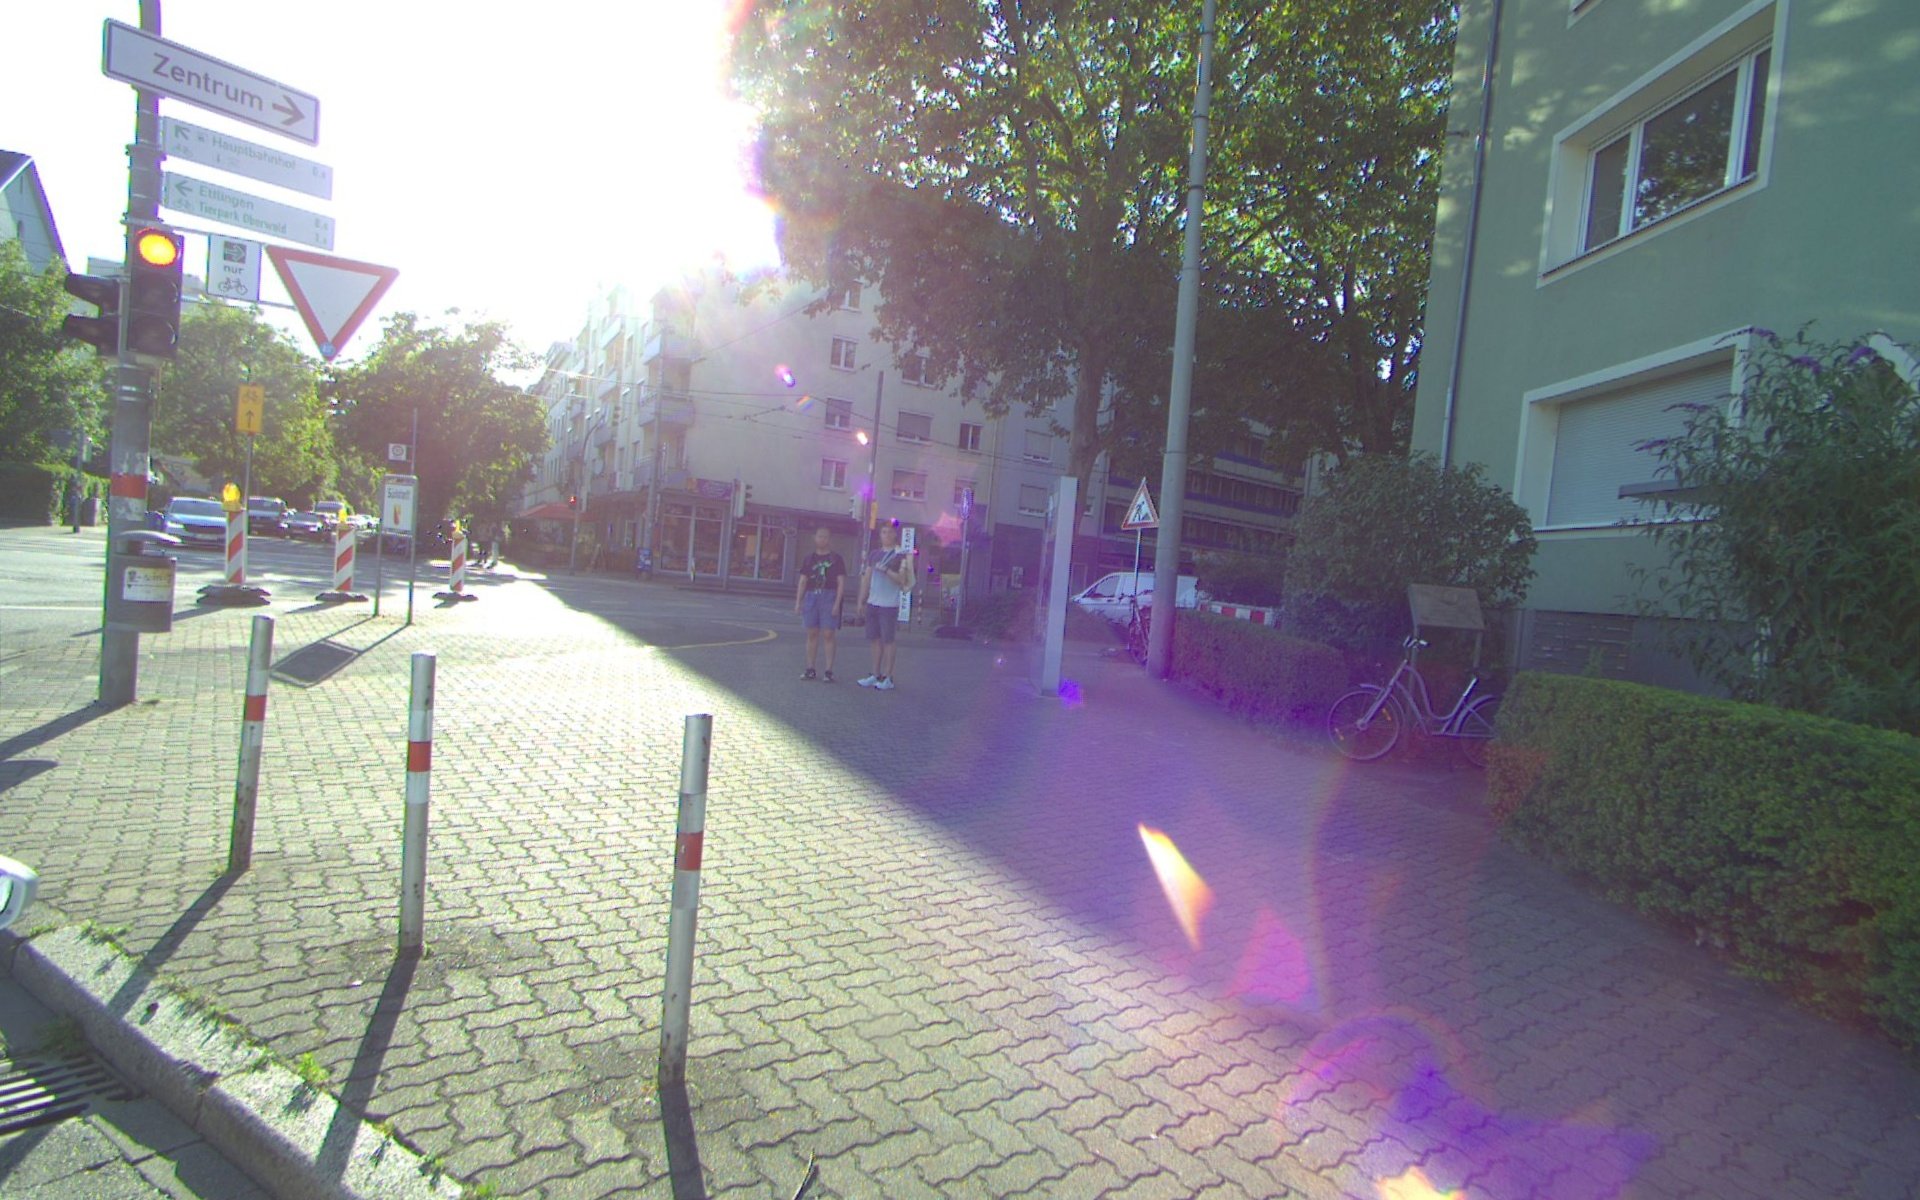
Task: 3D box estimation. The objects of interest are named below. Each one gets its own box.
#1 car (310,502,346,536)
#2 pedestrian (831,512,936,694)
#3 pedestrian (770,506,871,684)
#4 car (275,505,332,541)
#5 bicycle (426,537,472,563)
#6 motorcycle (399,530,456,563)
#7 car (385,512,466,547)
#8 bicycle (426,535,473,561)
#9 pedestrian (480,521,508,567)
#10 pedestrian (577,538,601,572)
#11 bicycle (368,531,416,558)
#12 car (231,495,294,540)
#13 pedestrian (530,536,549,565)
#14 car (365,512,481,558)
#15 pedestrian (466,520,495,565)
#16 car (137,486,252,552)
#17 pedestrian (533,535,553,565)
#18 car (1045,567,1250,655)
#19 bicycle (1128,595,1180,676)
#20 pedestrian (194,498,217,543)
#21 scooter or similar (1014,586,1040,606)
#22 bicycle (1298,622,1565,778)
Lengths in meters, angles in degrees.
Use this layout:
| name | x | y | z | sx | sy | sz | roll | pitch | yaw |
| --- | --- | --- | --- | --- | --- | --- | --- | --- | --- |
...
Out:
| name | x | y | z | sx | sy | sz | roll | pitch | yaw |
| --- | --- | --- | --- | --- | --- | --- | --- | --- | --- |
| car | -54.390 | -6.977 | 86.631 | 2.336 | 2.548 | 5.265 | 4 | 2 | -31 |
| pedestrian | -0.789 | 0.026 | 10.519 | 0.680 | 1.774 | 0.794 | 6 | 2 | 21 |
| pedestrian | -1.472 | -0.057 | 10.722 | 0.680 | 1.774 | 0.794 | 6 | 2 | 13 |
| car | -33.191 | -3.883 | 50.956 | 1.876 | 1.585 | 4.361 | 5 | 2 | -27 |
| bicycle | -21.971 | -2.167 | 43.275 | 1.708 | 0.945 | 0.557 | 5 | 2 | -29 |
| motorcycle | -21.639 | -2.164 | 40.880 | 1.938 | 1.124 | 0.829 | 4 | 2 | -34 |
| car | -39.351 | -5.151 | 74.115 | 5.050 | 1.948 | 2.344 | 5 | 0 | -32 |
| bicycle | -21.601 | -2.190 | 42.604 | 1.708 | 0.945 | 0.557 | 5 | 2 | -29 |
| pedestrian | -18.613 | -2.234 | 40.211 | 0.681 | 1.774 | 0.793 | 5 | 2 | -7 |
| pedestrian | -17.974 | -2.168 | 48.742 | 0.806 | 1.565 | 0.905 | 3 | 3 | -35 |
| bicycle | -23.700 | -2.333 | 42.011 | 1.708 | 0.945 | 0.667 | 5 | 2 | -29 |
| car | -37.329 | -4.396 | 53.983 | 2.336 | 2.040 | 5.265 | 4 | 2 | -31 |
| pedestrian | -21.459 | -2.527 | 51.357 | 0.803 | 1.381 | 0.908 | 4 | 2 | -23 |
| car | -30.227 | -3.582 | 56.673 | 5.576 | 1.948 | 2.343 | 5 | 0 | -32 |
| pedestrian | -19.427 | -2.321 | 40.776 | 0.706 | 1.774 | 0.793 | 5 | 2 | -7 |
| car | -22.169 | -2.348 | 29.084 | 3.947 | 1.503 | 1.888 | 6 | -2 | 43 |
| pedestrian | -20.819 | -2.487 | 50.201 | 0.803 | 1.381 | 0.908 | 4 | 2 | -24 |
| car | 4.714 | 0.222 | 26.130 | 1.913 | 1.849 | 5.185 | 5 | 0 | -37 |
| bicycle | 2.868 | 0.494 | 15.001 | 0.511 | 1.071 | 1.933 | 6 | 2 | 7 |
| pedestrian | -33.292 | -3.505 | 44.402 | 0.656 | 1.864 | 0.677 | 4 | 3 | -30 |
| scooter or similar | 3.473 | -0.198 | 52.163 | 1.421 | 0.966 | 0.462 | 4 | 3 | -44 |
| bicycle | 3.957 | 0.822 | 8.547 | 1.897 | 1.071 | 0.521 | 6 | 2 | 5 |
